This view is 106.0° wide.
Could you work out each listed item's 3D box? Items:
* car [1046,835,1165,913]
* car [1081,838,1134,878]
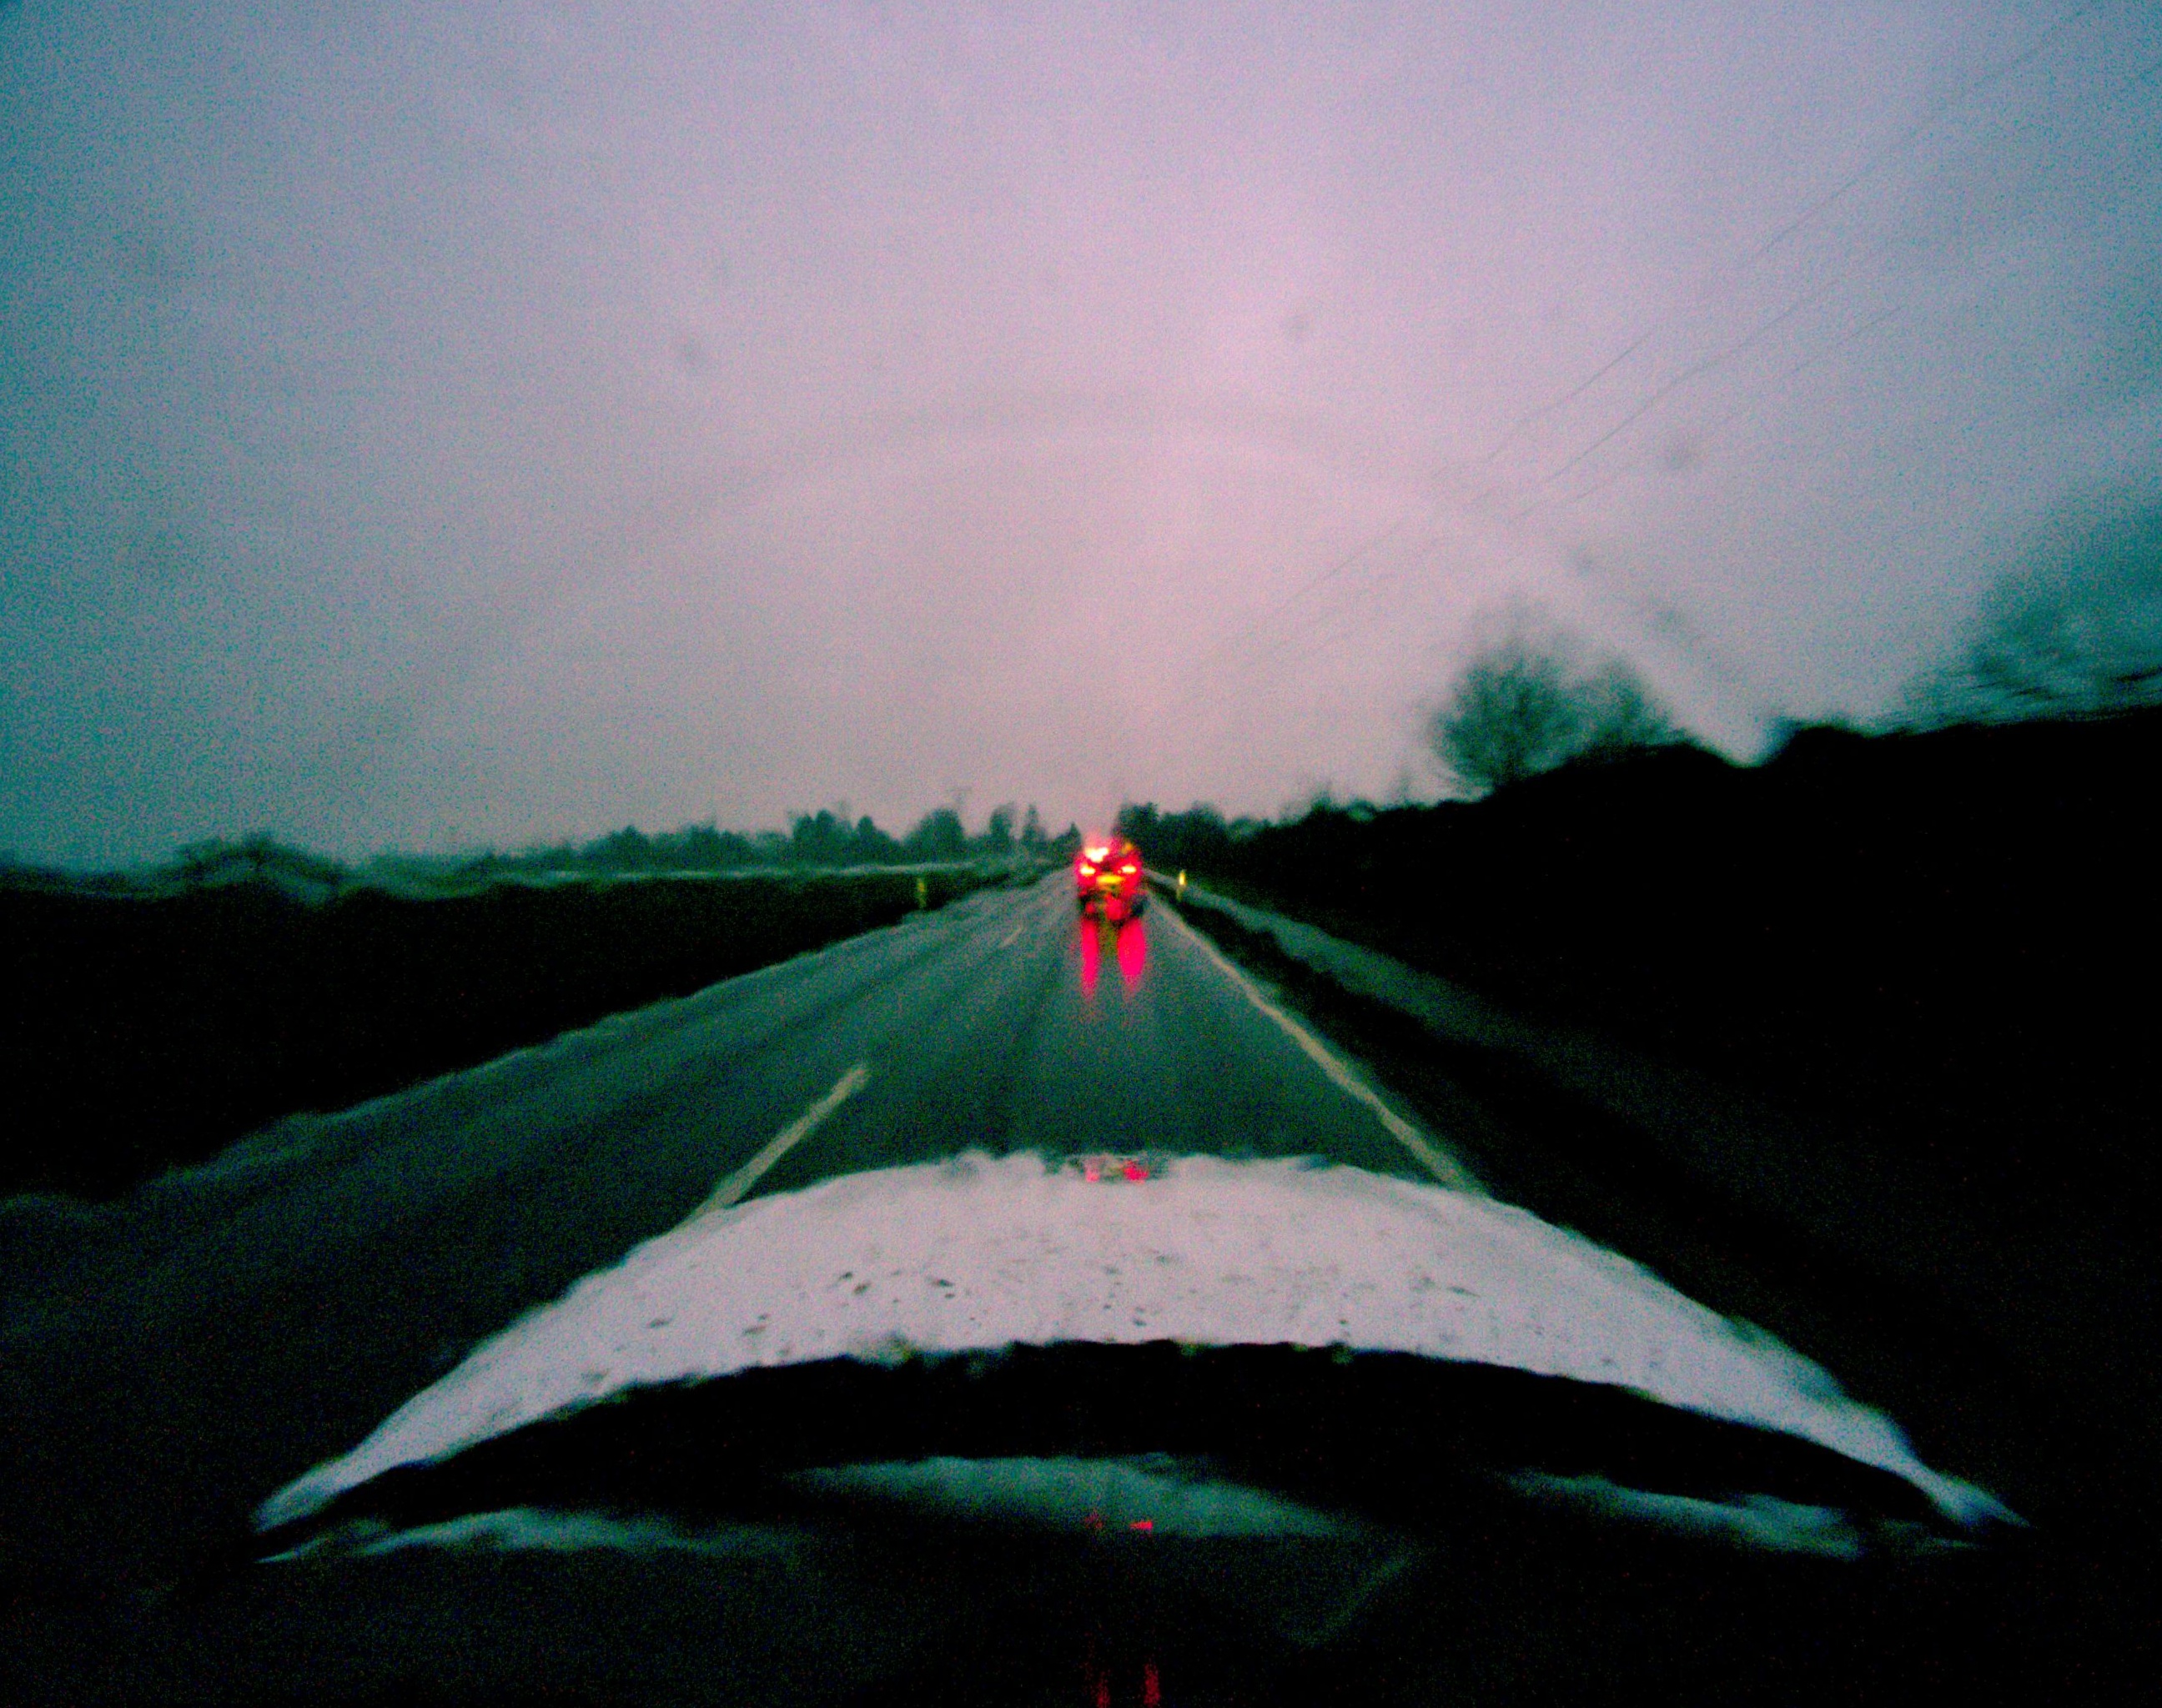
[{"bbox_3d":[0.801,0.533,25.474,3.152,2.035,6.855,-2,0,2],"label":"car"},{"bbox_3d":[1.520,0.207,45.947,2.745,2.035,6.594,-2,0,2],"label":"car"}]
